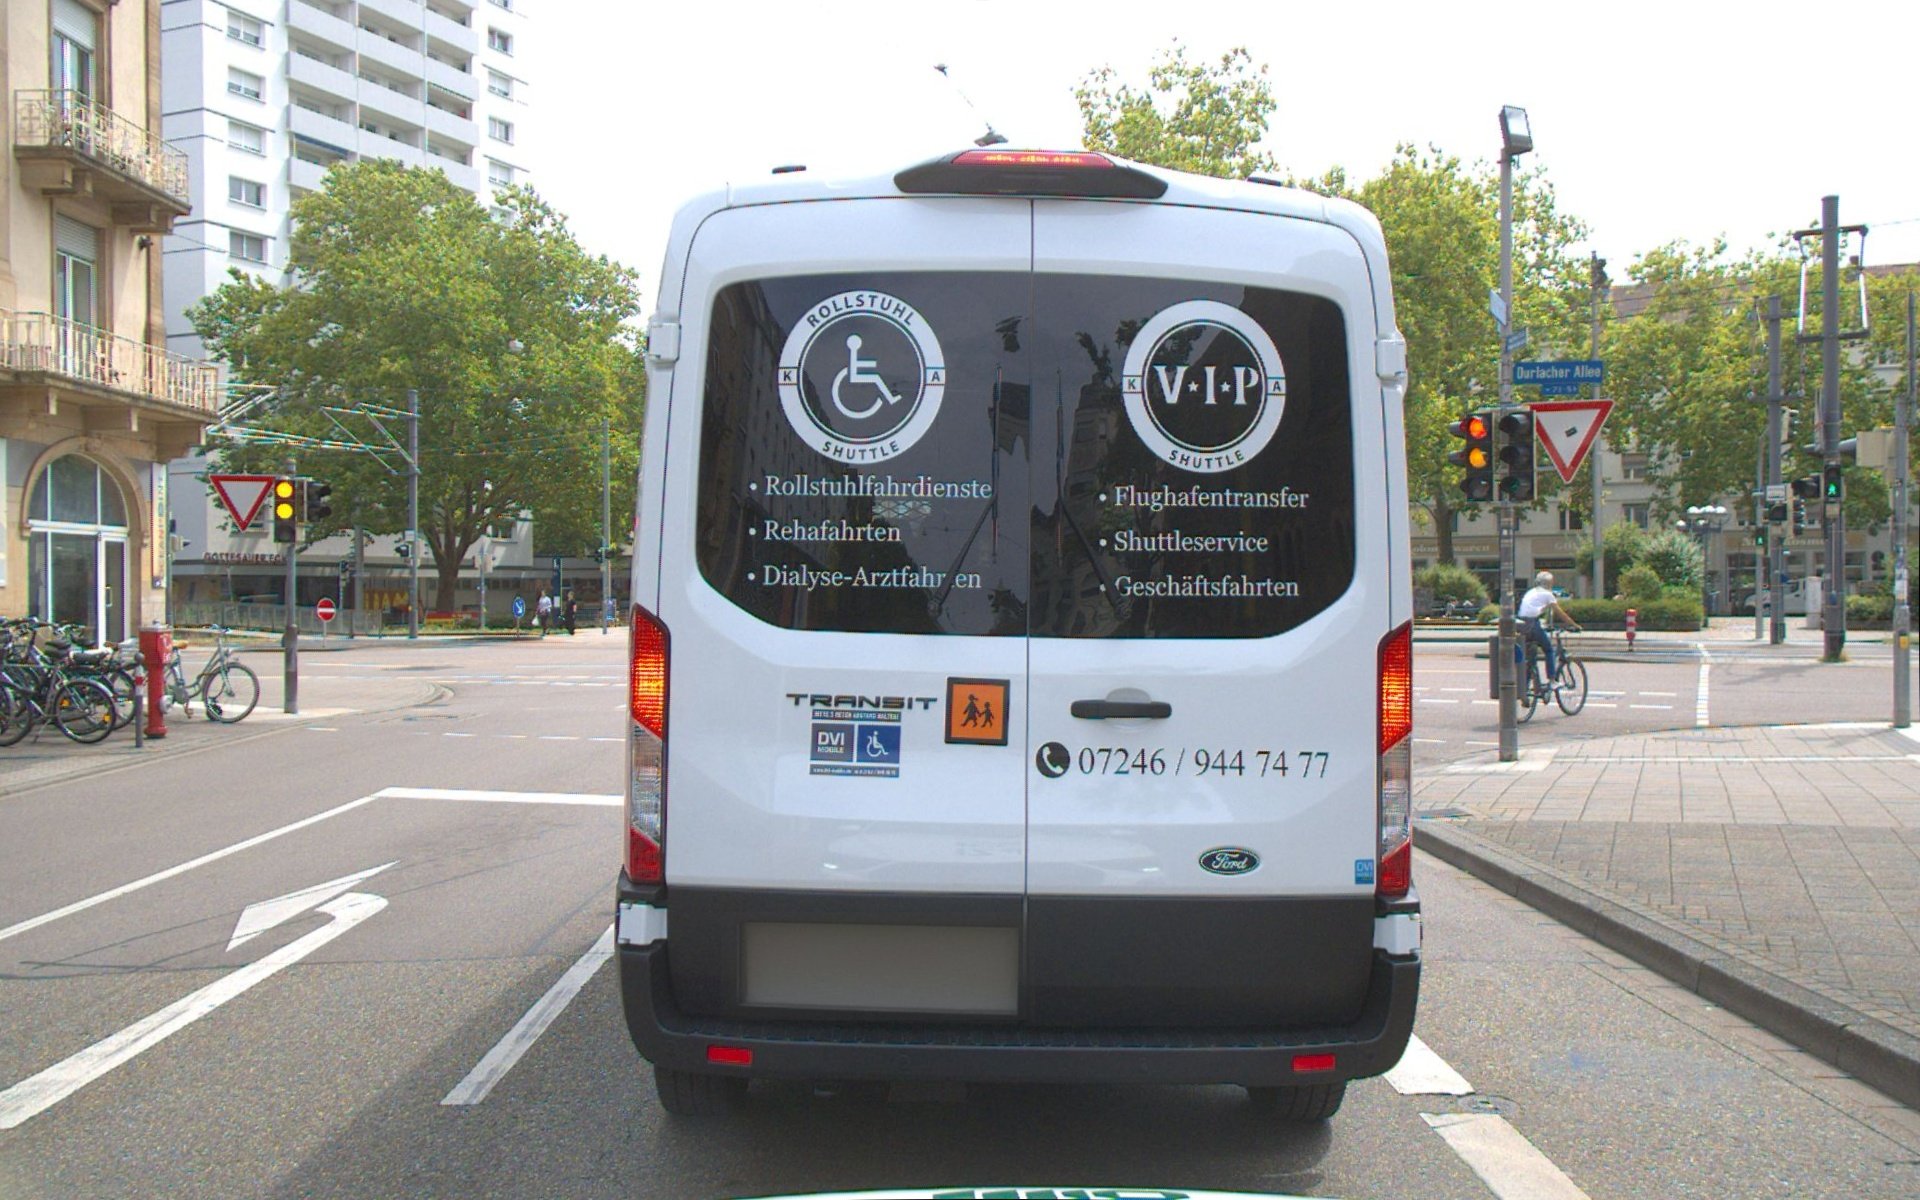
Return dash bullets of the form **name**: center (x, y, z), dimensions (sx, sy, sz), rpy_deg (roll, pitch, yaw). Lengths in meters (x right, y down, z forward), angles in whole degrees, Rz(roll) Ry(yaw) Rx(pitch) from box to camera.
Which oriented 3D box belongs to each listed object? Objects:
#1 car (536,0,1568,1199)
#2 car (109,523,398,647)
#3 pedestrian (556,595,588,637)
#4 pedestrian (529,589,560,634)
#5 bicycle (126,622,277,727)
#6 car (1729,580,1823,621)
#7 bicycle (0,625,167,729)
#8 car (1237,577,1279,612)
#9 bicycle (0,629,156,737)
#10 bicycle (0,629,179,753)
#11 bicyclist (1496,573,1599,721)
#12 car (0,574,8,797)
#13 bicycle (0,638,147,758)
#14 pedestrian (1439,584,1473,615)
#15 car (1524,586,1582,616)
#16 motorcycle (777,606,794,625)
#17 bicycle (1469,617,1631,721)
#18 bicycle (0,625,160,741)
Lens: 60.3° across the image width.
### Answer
- **car**: center (0.121, 0.074, 5.774), dimensions (2.138, 2.694, 4.627), rpy_deg (1, 1, -2)
- **car**: center (-24.170, -0.477, 56.485), dimensions (9.686, 3.984, 3.454), rpy_deg (0, 0, 24)
- **pedestrian**: center (-14.262, 0.577, 60.810), dimensions (0.915, 1.541, 0.720), rpy_deg (0, 0, 39)
- **pedestrian**: center (-14.999, 0.418, 59.765), dimensions (0.791, 1.600, 0.723), rpy_deg (0, 0, 28)
- **bicycle**: center (-9.280, 0.889, 20.221), dimensions (1.836, 1.187, 0.498), rpy_deg (2, 0, 20)
- **car**: center (39.173, 0.012, 79.497), dimensions (3.907, 1.916, 1.857), rpy_deg (-1, 0, 24)
- **bicycle**: center (-10.213, 0.882, 19.090), dimensions (1.775, 1.140, 0.593), rpy_deg (2, 0, -9)
- **car**: center (17.124, -0.337, 95.177), dimensions (1.951, 1.964, 4.002), rpy_deg (-1, 0, 4)
- **bicycle**: center (-10.000, 0.915, 18.395), dimensions (1.775, 1.140, 0.593), rpy_deg (2, 0, -9)
- **bicycle**: center (-9.099, 0.926, 17.063), dimensions (1.771, 1.140, 0.594), rpy_deg (3, 0, 3)
- **bicyclist**: center (7.014, 0.538, 19.765), dimensions (0.748, 1.713, 0.895), rpy_deg (-1, 0, -36)
- **car**: center (-9.798, 0.711, 12.821), dimensions (3.974, 1.804, 1.771), rpy_deg (-1, 1, -40)
- **bicycle**: center (-9.079, 0.967, 16.389), dimensions (1.771, 1.140, 0.594), rpy_deg (-1, 0, 6)
- **pedestrian**: center (21.213, -0.014, 70.742), dimensions (1.068, 1.257, 1.441), rpy_deg (-2, -1, 4)
- **car**: center (31.759, 0.039, 88.679), dimensions (1.951, 1.529, 4.002), rpy_deg (-1, 0, 4)
- **motorcycle**: center (-9.759, 0.863, 92.536), dimensions (0.669, 0.988, 2.323), rpy_deg (-1, 0, 0)
- **bicycle**: center (7.078, 0.799, 19.819), dimensions (1.949, 1.093, 0.894), rpy_deg (-3, 2, -37)
- **bicycle**: center (-9.669, 0.887, 17.789), dimensions (1.775, 1.186, 0.593), rpy_deg (2, 0, -9)
